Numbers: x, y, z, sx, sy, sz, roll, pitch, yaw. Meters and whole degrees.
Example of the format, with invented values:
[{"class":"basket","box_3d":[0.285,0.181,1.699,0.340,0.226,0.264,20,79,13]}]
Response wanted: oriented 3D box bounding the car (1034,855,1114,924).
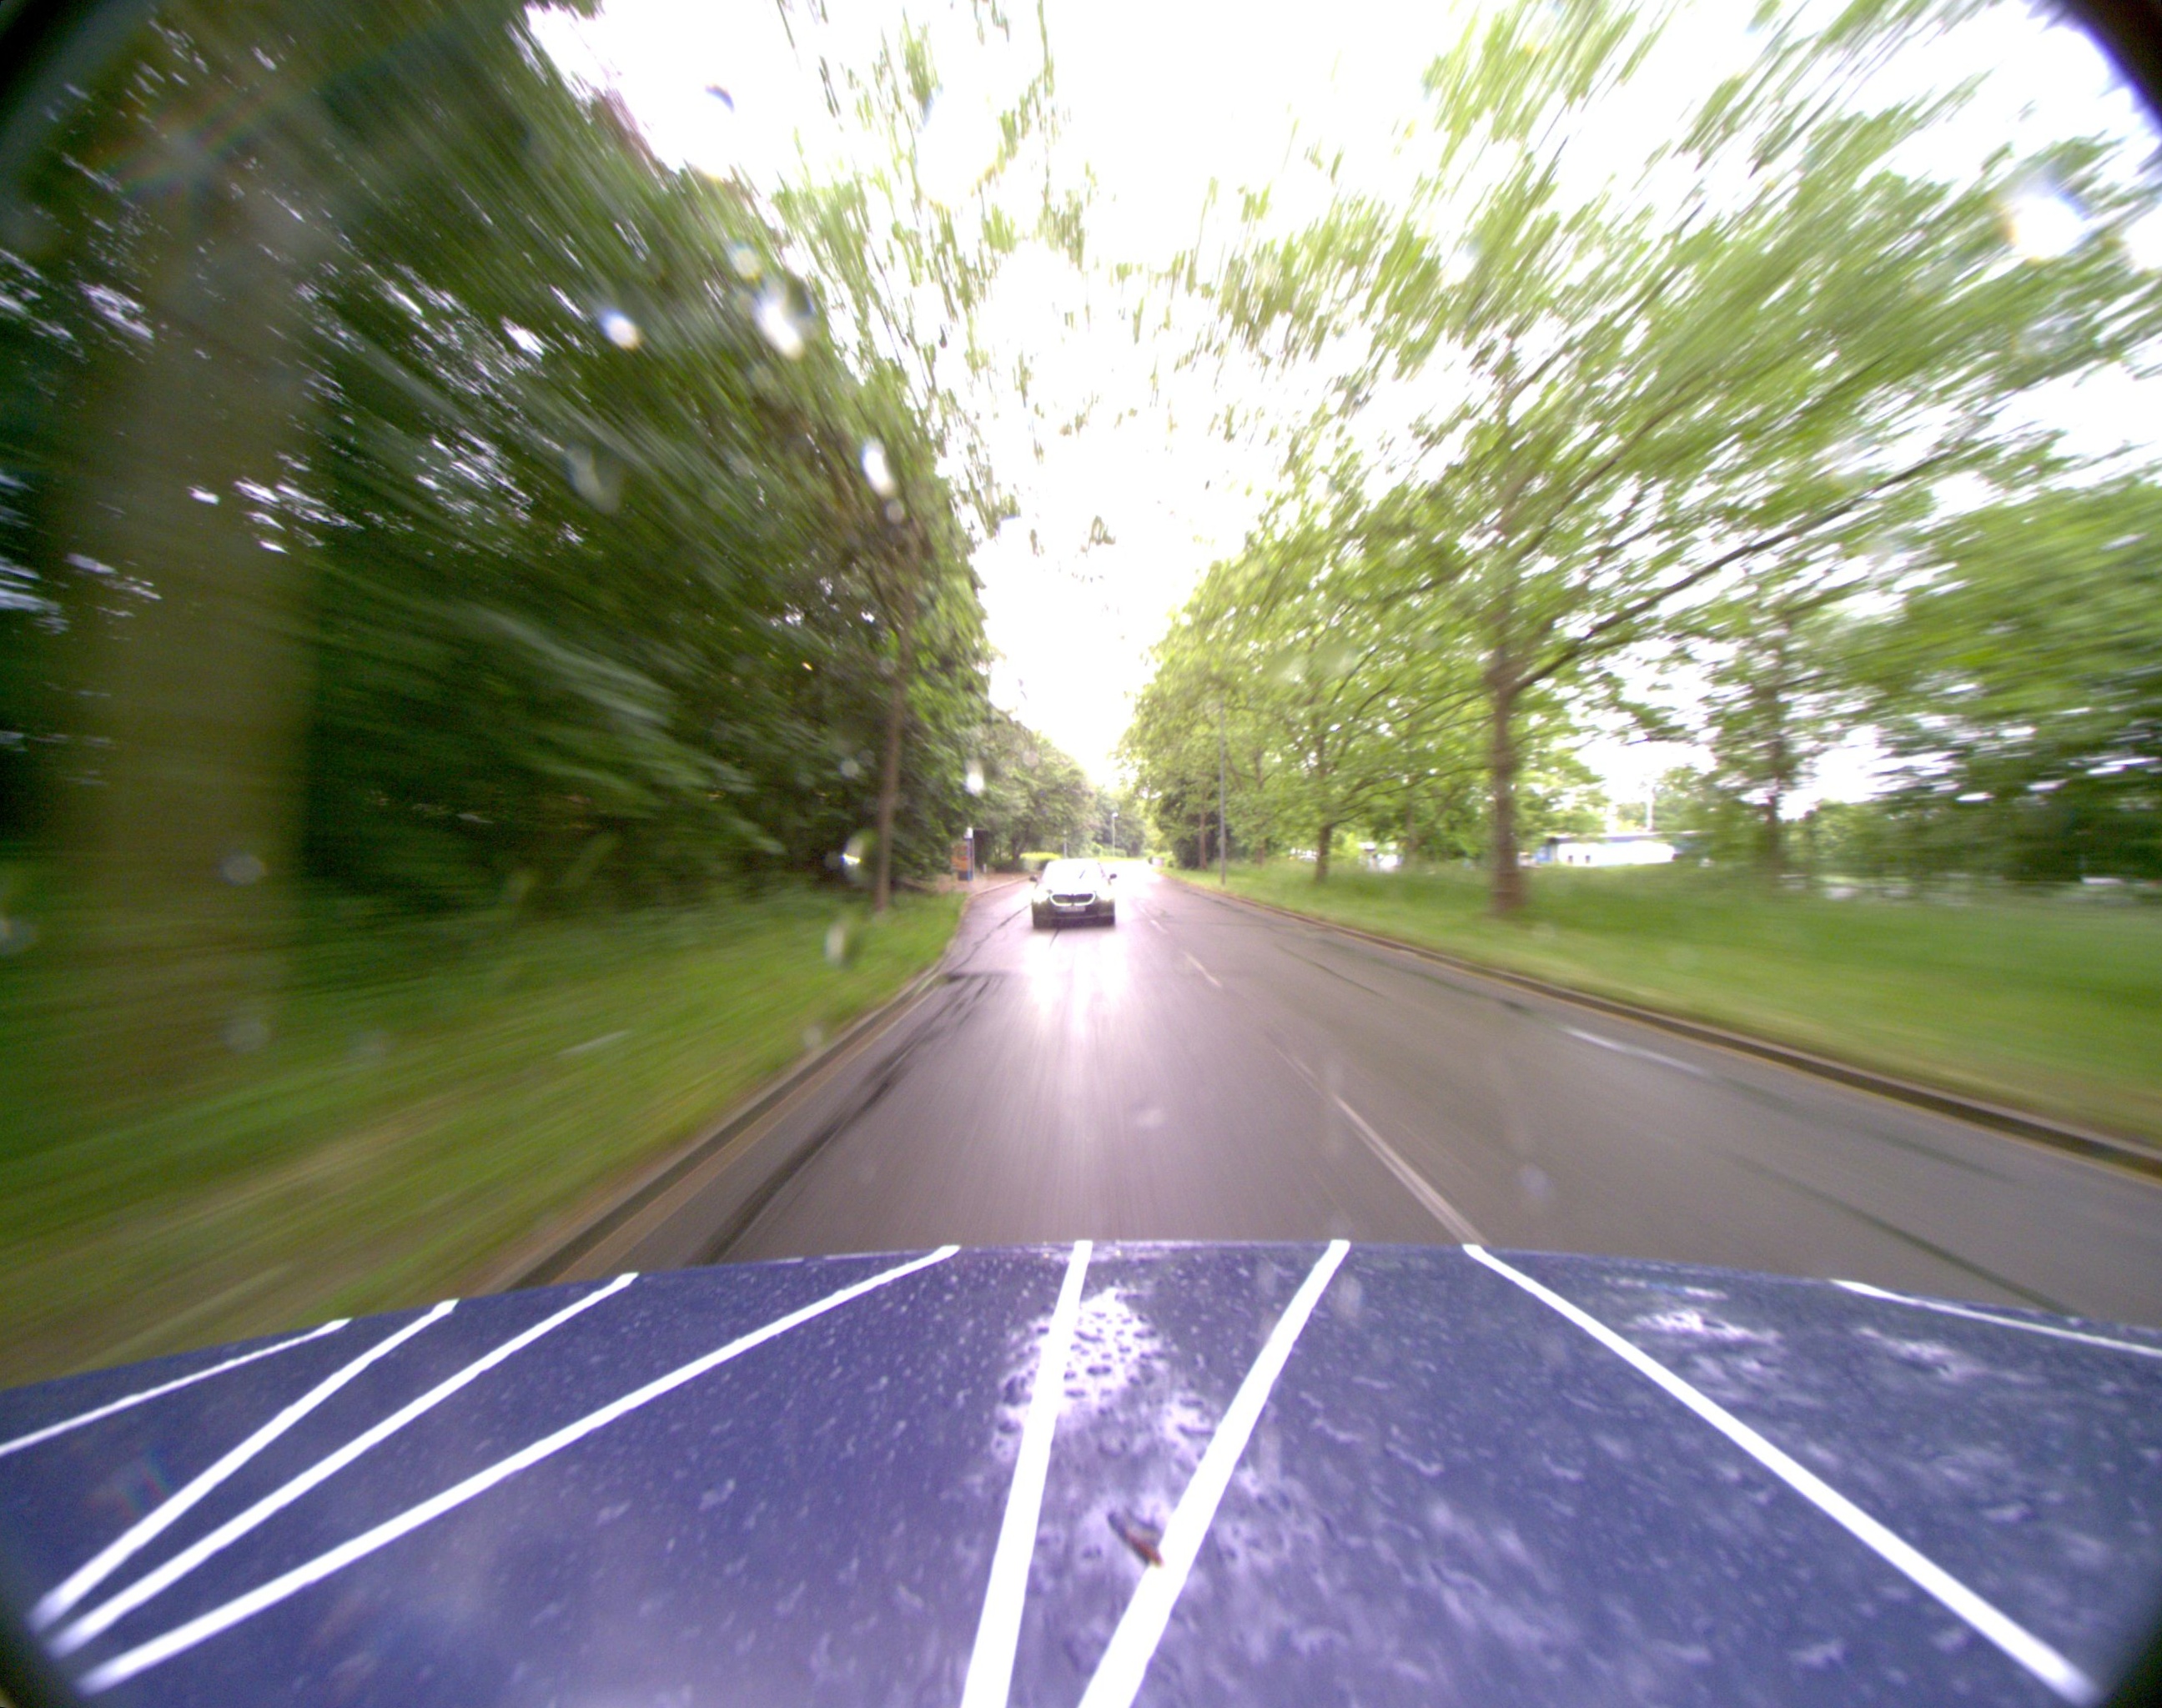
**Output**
[{"class":"car","box_3d":[-0.087,0.840,20.073,1.832,1.499,4.498,-2,0,2]}]
